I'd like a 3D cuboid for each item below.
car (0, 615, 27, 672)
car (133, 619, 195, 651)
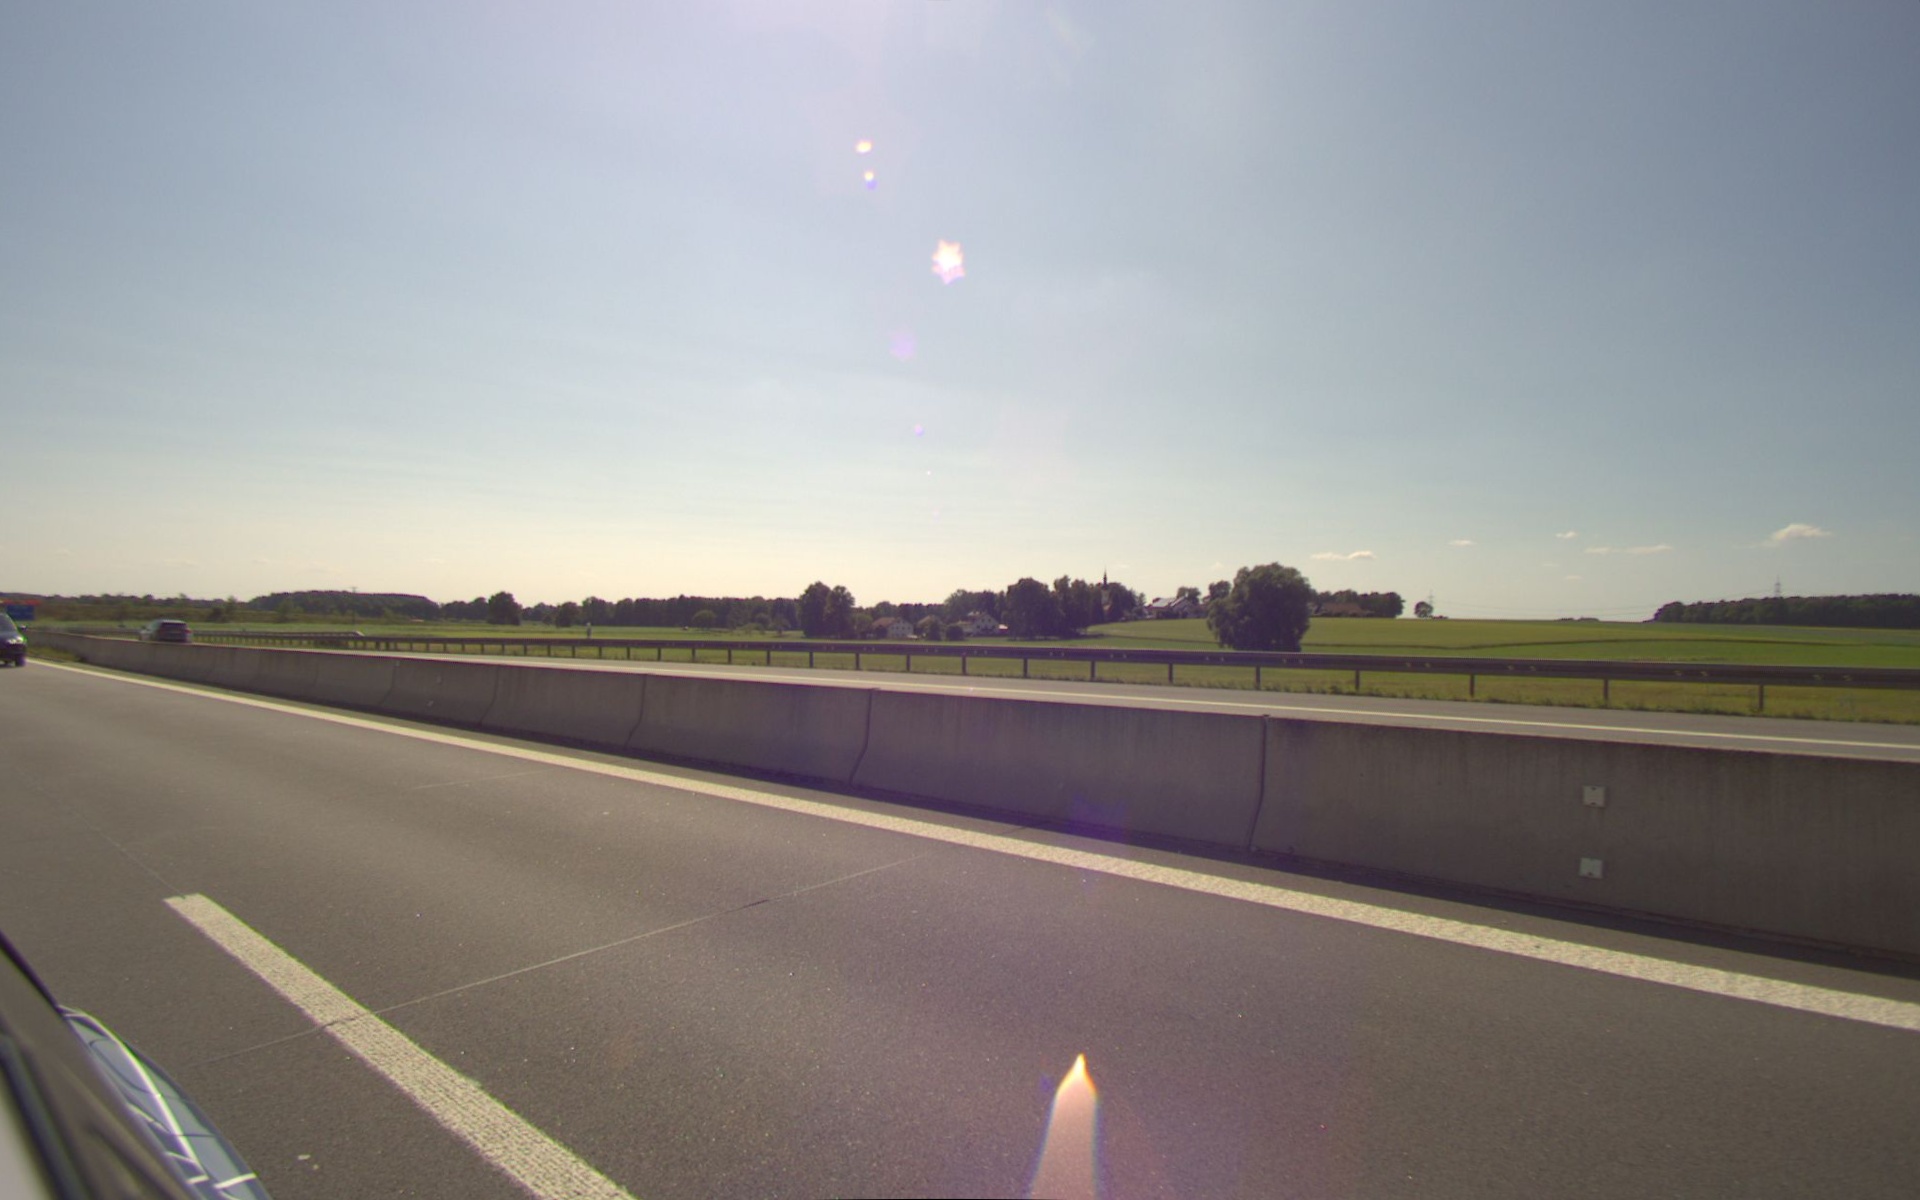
[{"bbox_3d":[-29.360,1.260,30.035,4.816,1.622,2.004,-1,-1,42],"label":"car"},{"bbox_3d":[-44.984,1.959,57.152,5.004,1.698,1.887,-2,0,42],"label":"car"}]
